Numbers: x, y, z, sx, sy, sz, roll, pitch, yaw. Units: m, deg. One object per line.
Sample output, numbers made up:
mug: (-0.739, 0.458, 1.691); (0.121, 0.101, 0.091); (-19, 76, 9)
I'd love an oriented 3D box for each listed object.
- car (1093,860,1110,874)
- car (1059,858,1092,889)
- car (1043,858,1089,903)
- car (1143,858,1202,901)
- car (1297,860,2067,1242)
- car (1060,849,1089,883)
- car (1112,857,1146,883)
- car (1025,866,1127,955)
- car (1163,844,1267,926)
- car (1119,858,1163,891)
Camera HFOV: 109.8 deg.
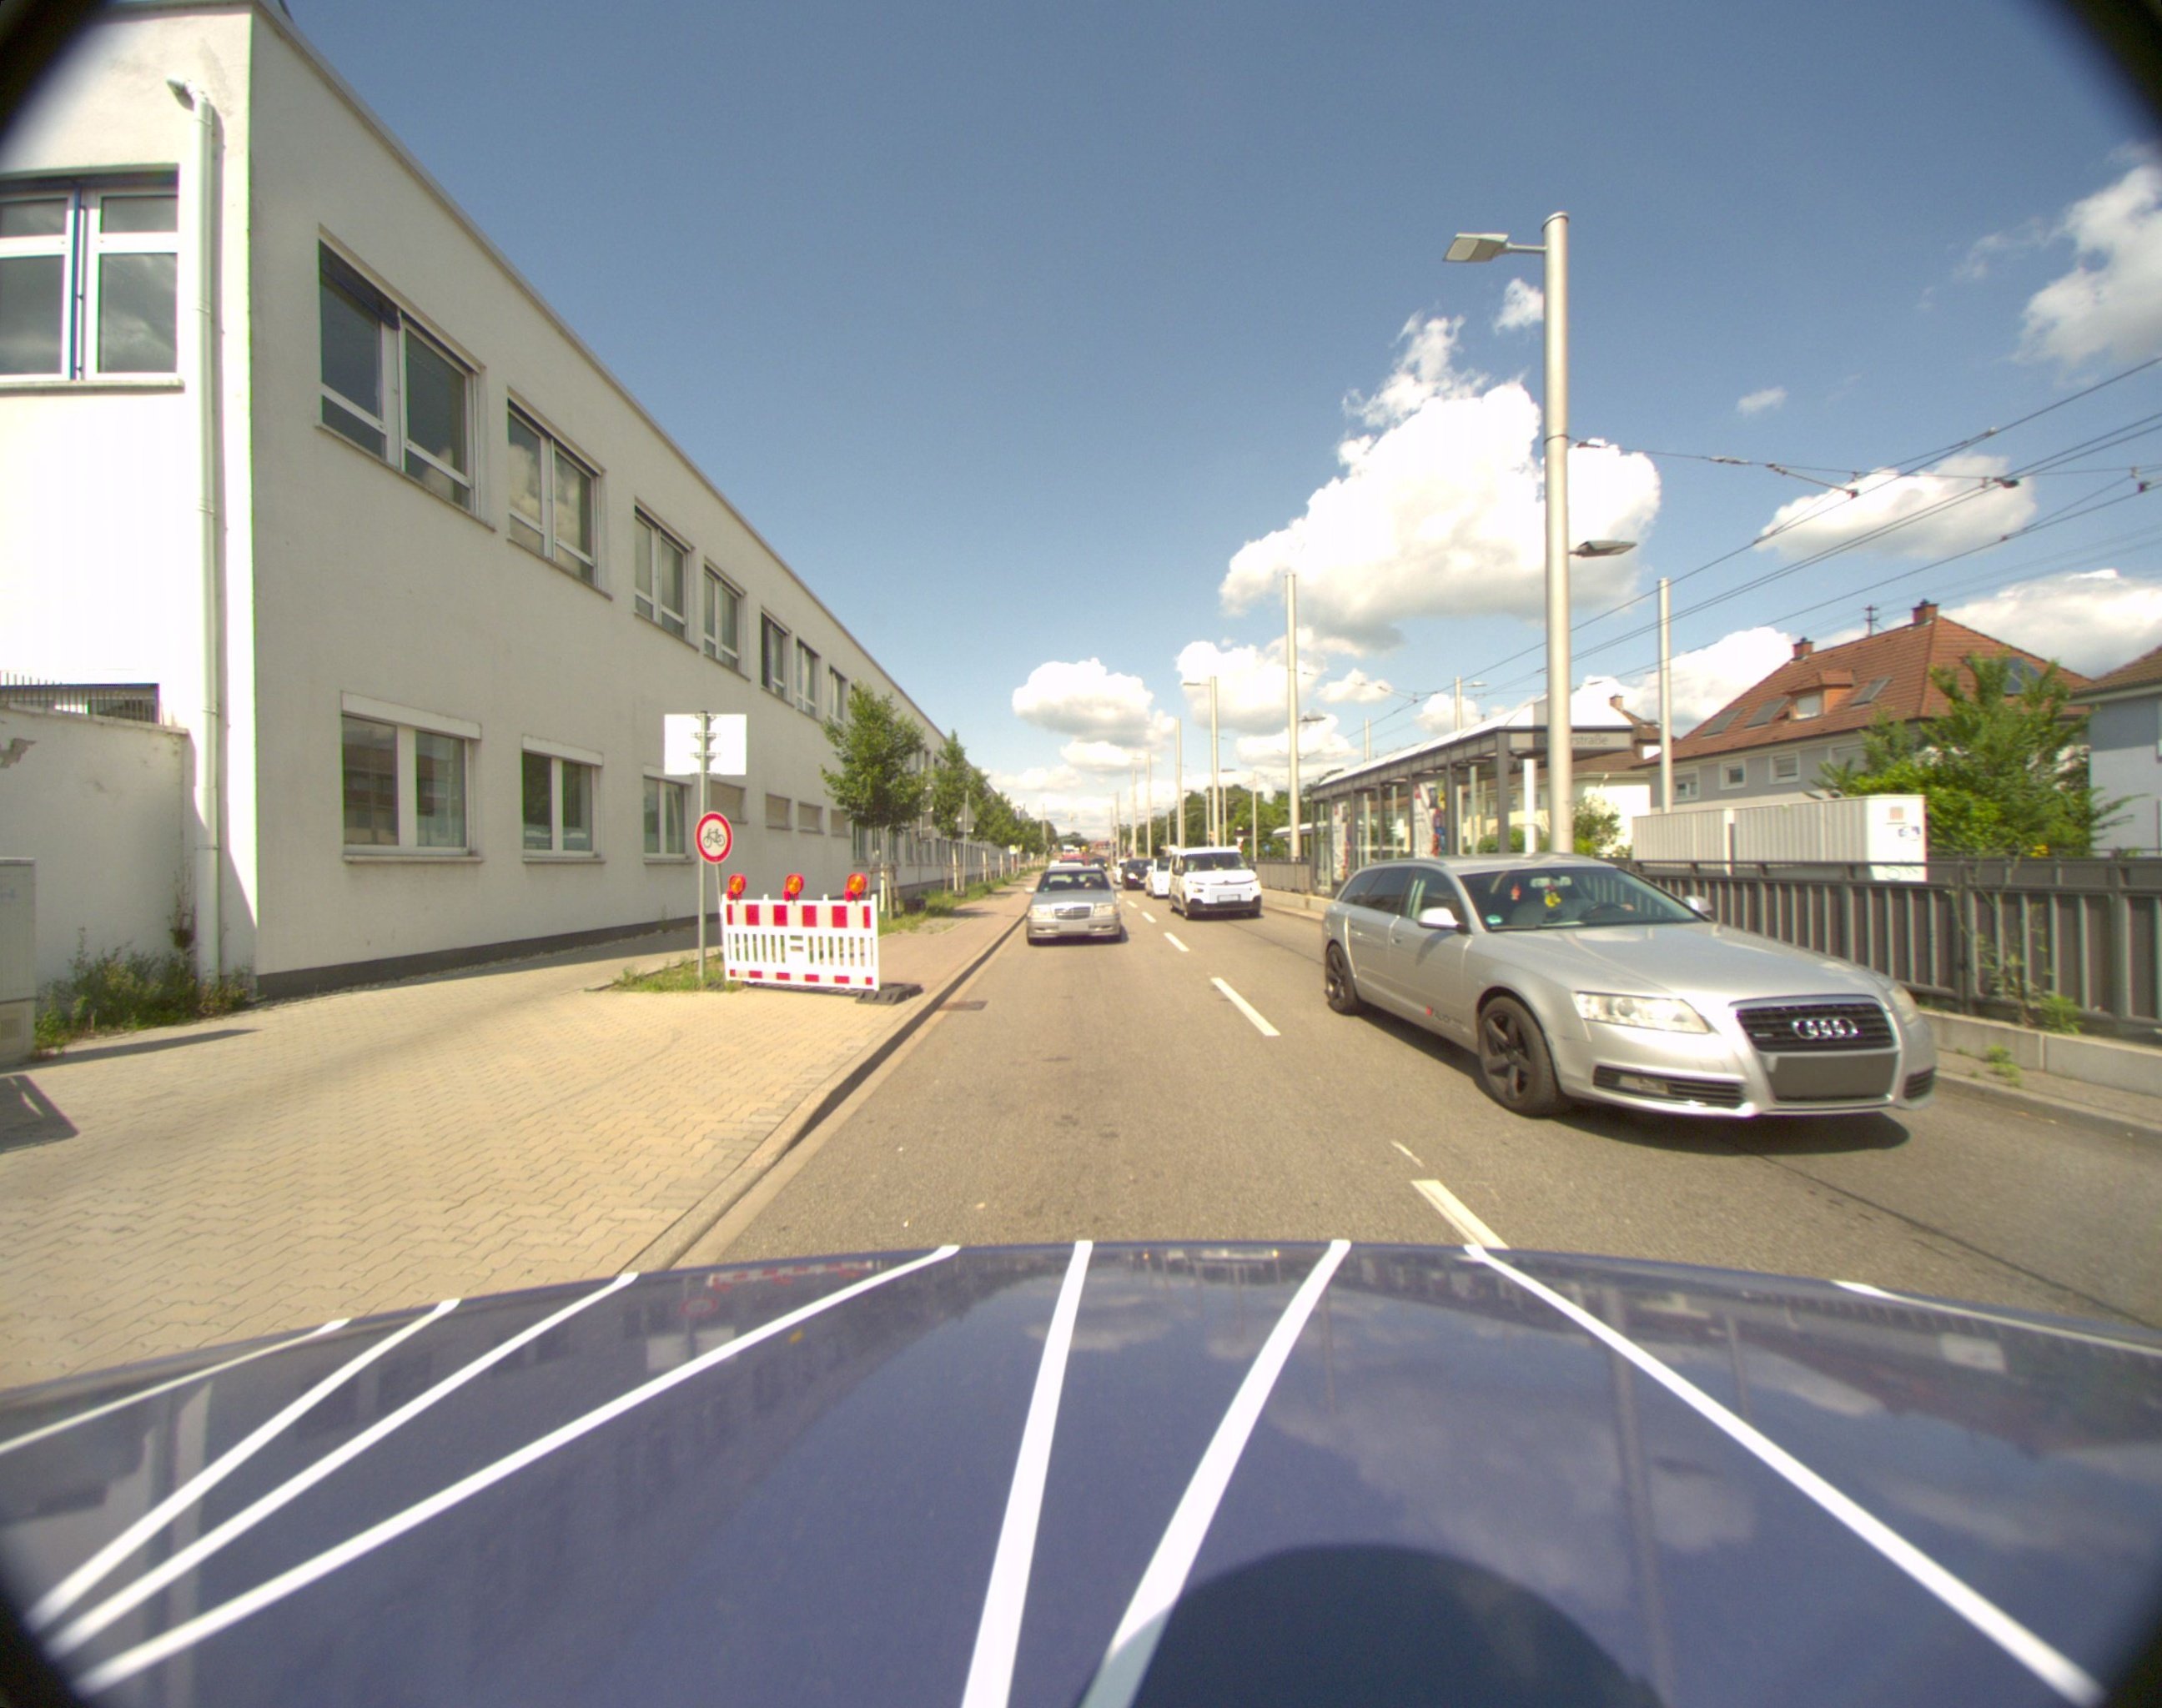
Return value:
car: (2.259, 1.394, 84.302); (1.698, 1.350, 4.498); (-2, 0, -1)
car: (-0.323, 1.015, 41.288); (1.664, 1.529, 3.999); (-2, 0, -1)
car: (-0.597, 1.006, 30.400); (1.664, 1.564, 3.999); (-2, 0, -1)
car: (3.441, 0.920, 29.130); (1.680, 1.495, 3.393); (-2, 0, -2)
car: (3.208, 0.843, 5.547); (1.799, 1.463, 4.721); (-2, 0, -1)
car: (-0.475, 0.762, 51.429); (1.787, 2.134, 5.168); (-2, 0, -1)
car: (2.869, 0.943, 46.343); (1.698, 1.350, 4.498); (-2, 0, -1)
car: (-0.123, 1.018, 15.500); (1.725, 1.389, 4.462); (-2, 0, -1)
car: (3.306, 0.699, 19.588); (1.799, 1.804, 4.329); (-2, 0, -1)
car: (2.880, 0.964, 37.188); (1.680, 1.414, 3.557); (-2, 0, -2)
